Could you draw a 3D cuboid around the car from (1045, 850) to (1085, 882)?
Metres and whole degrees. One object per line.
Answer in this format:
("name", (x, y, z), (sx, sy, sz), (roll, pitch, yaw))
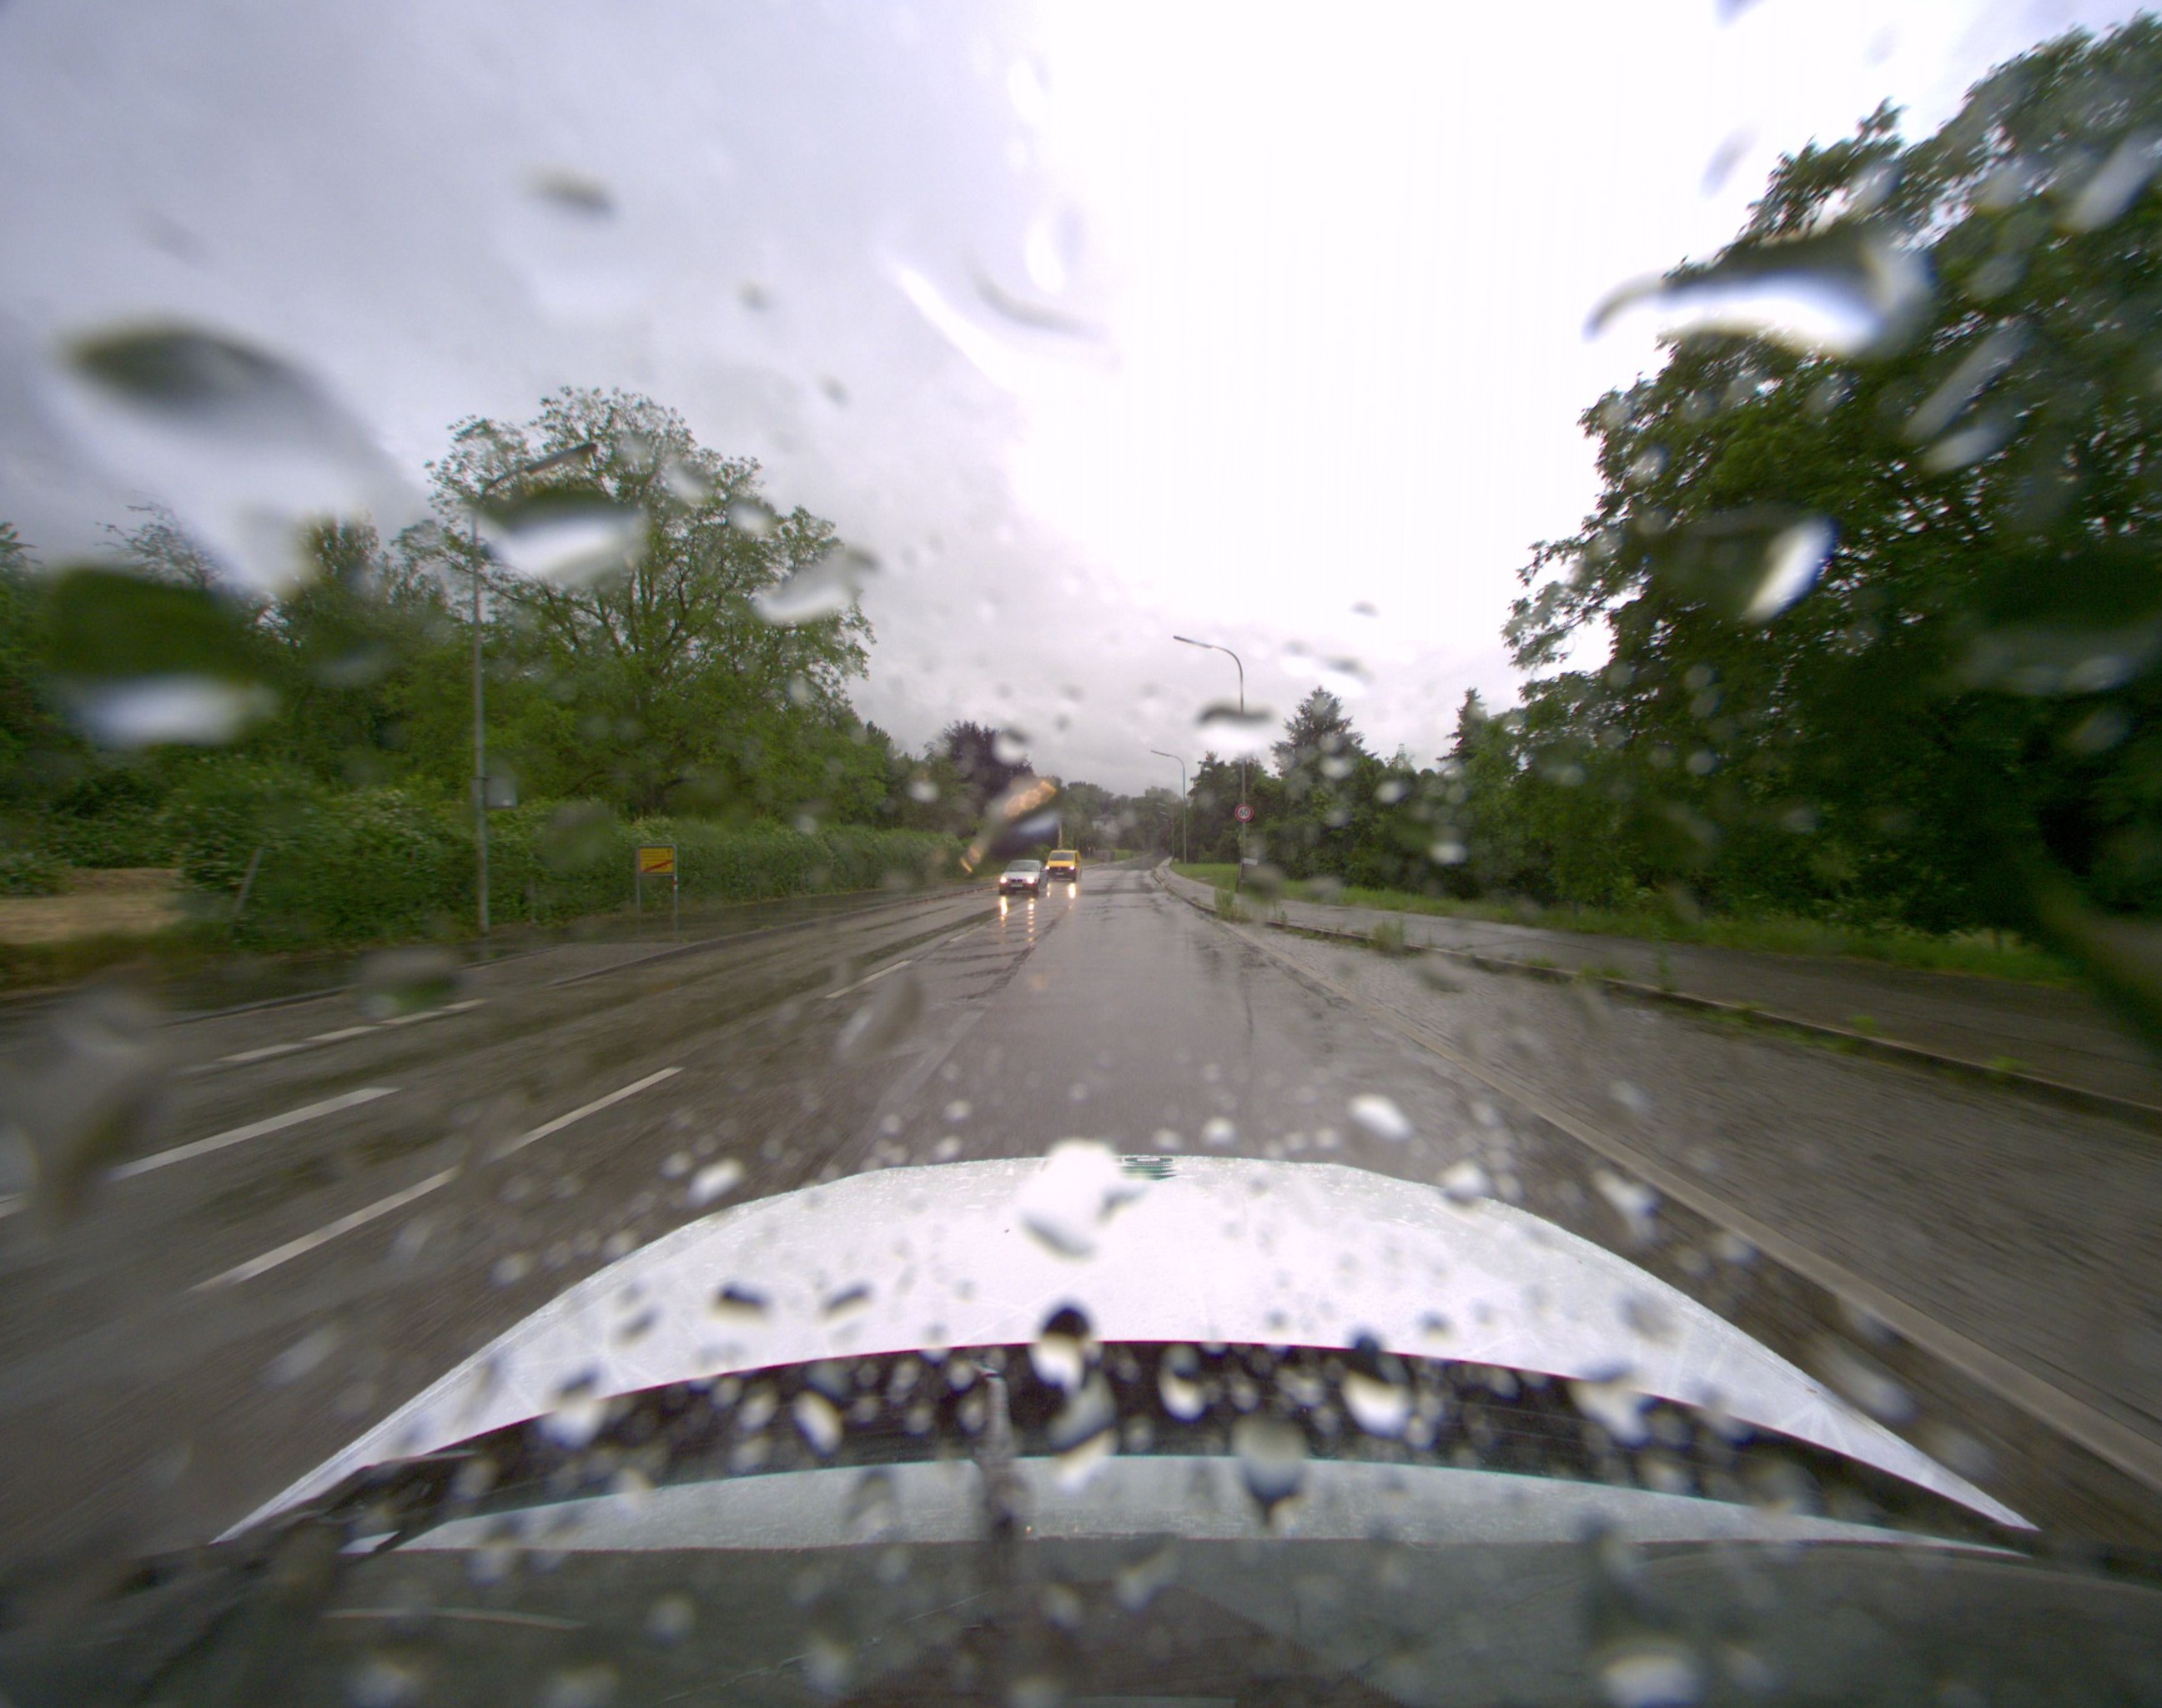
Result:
("car", (-0.965, 0.726, 51.511), (1.928, 1.871, 5.043), (-1, 0, 5))

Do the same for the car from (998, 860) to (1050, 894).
("car", (-2.345, 0.930, 34.421), (1.694, 1.349, 3.909), (-1, 0, 3))
